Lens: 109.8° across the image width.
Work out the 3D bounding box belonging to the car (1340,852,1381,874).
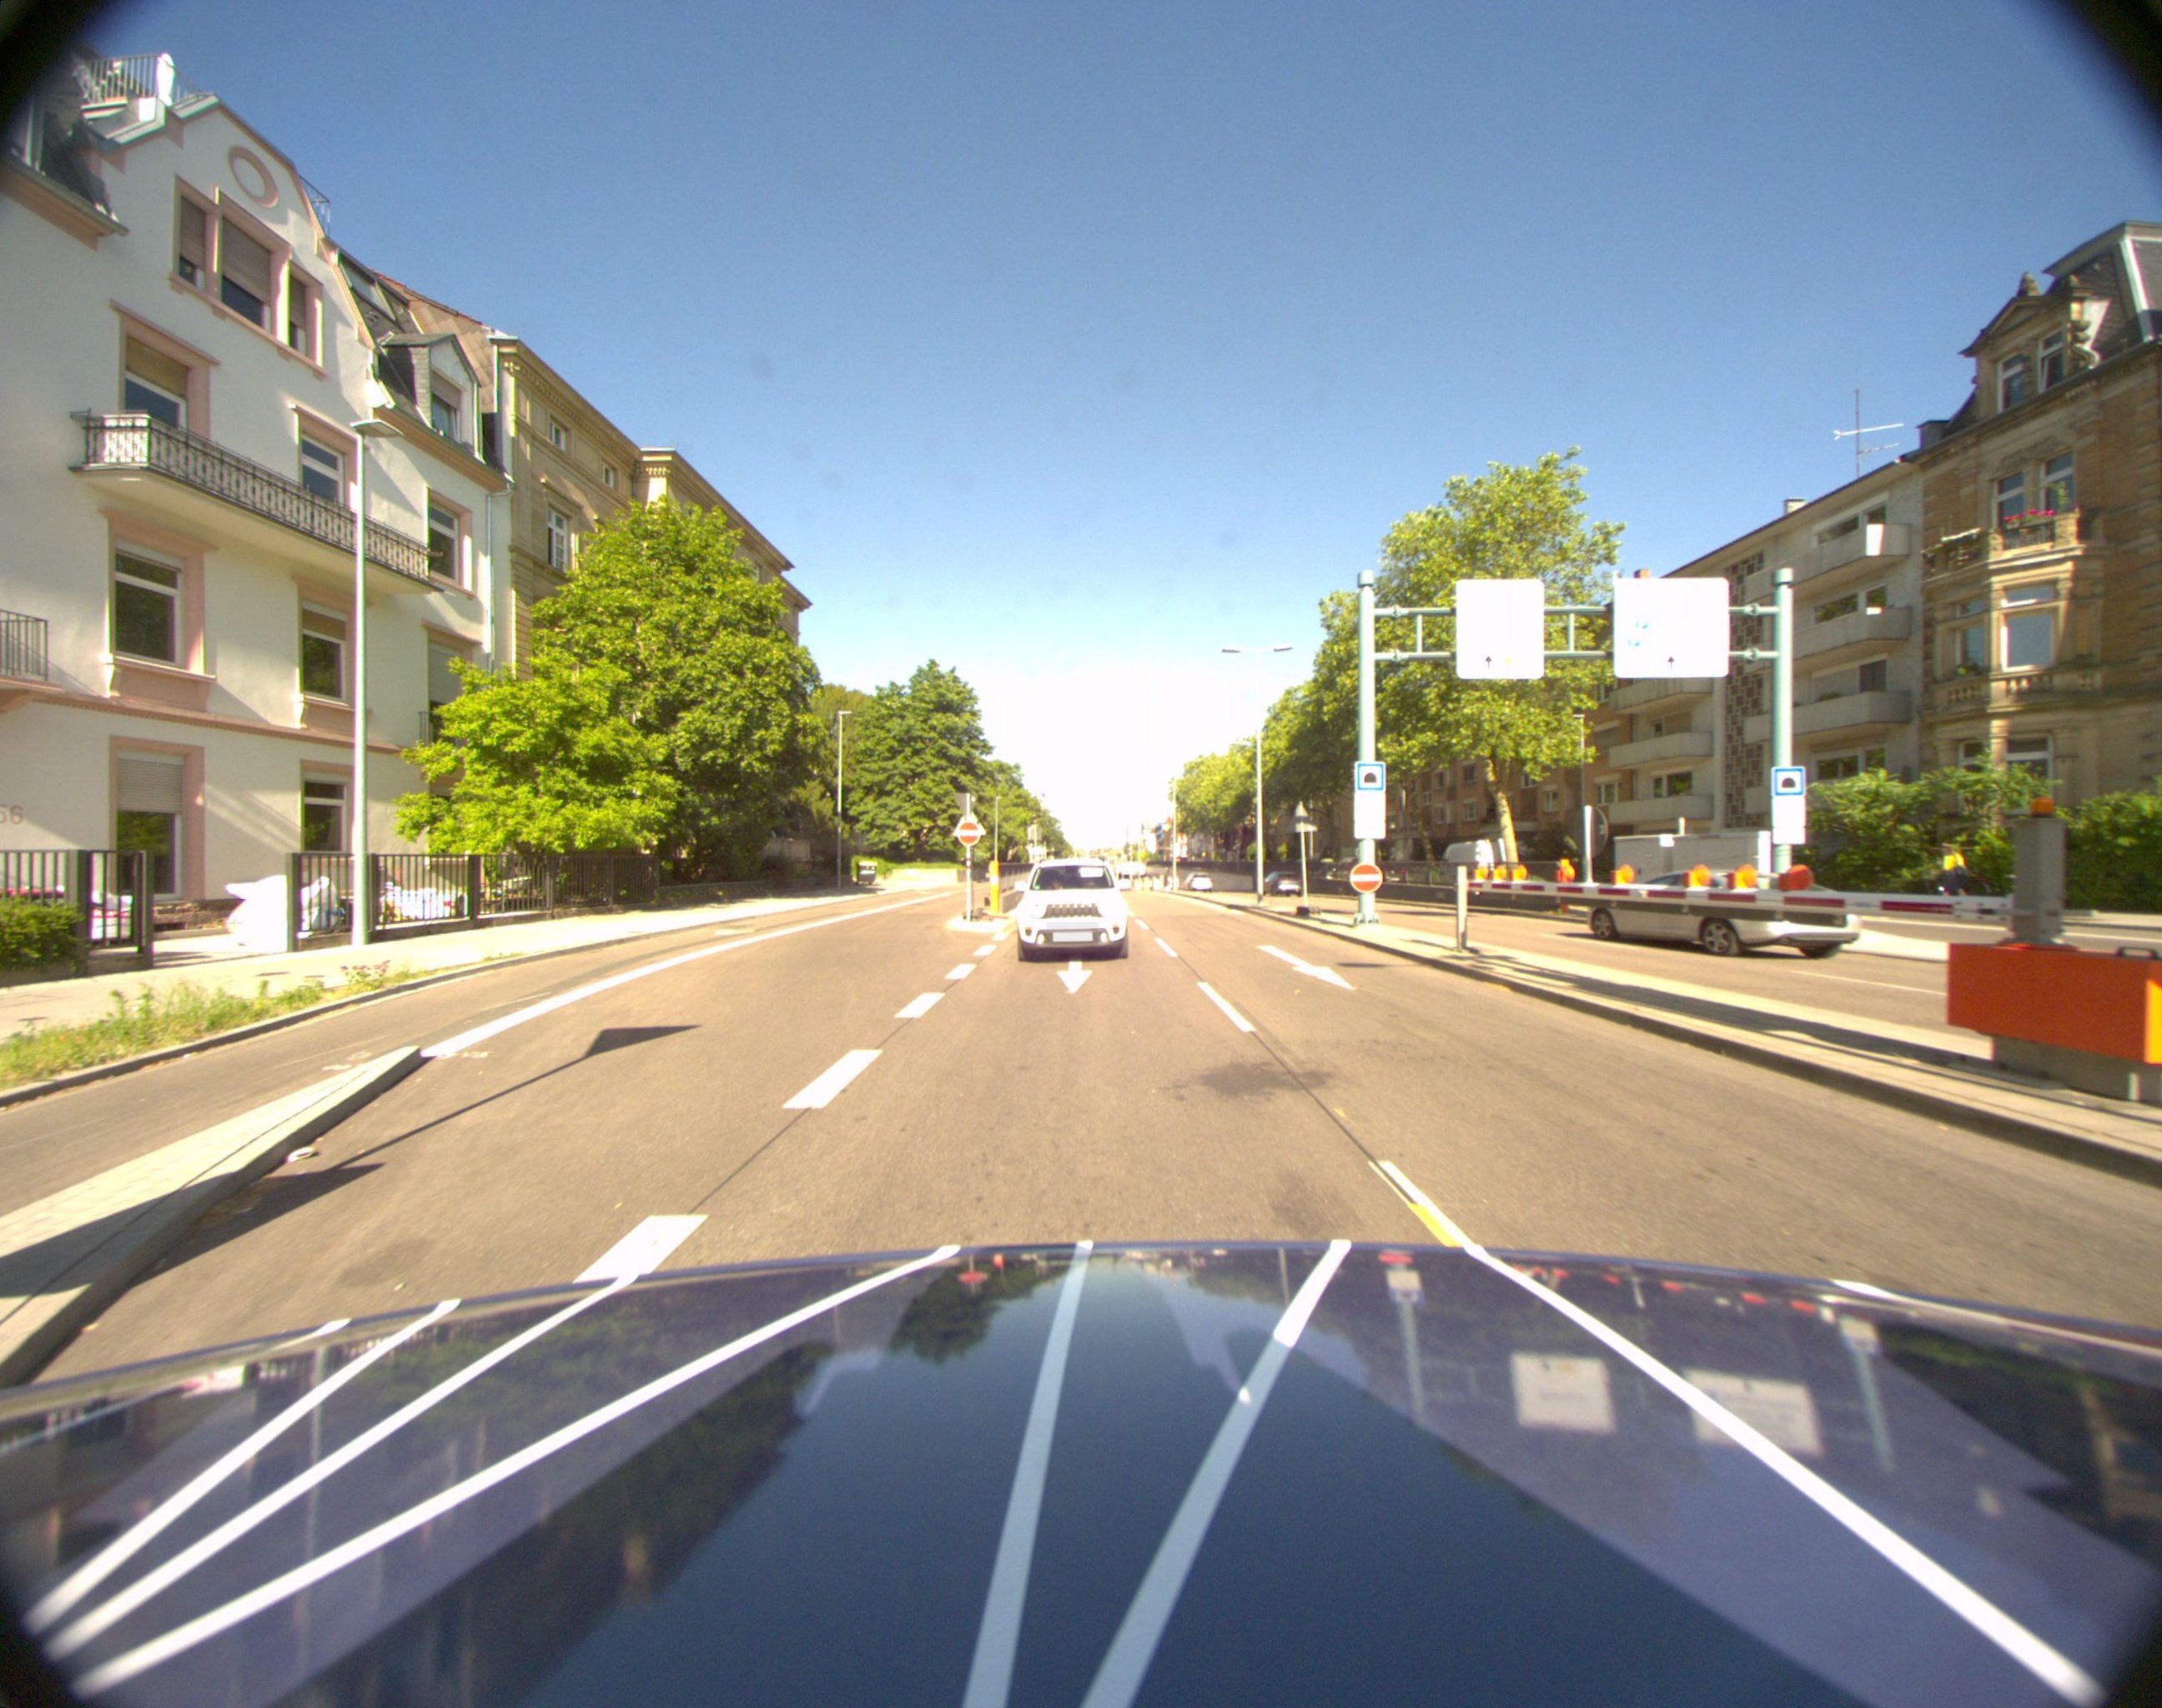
[{"bbox_3d":[23.060,0.799,62.888,1.998,1.742,4.001,0,-1,2],"label":"car"}]

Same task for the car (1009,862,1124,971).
[{"bbox_3d":[-0.215,1.009,13.517,1.744,1.647,3.691,-1,-1,0],"label":"car"}]

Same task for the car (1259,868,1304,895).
[{"bbox_3d":[12.182,1.634,46.329,1.611,1.432,4.311,2,-1,1],"label":"car"}]

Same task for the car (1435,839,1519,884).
[{"bbox_3d":[22.783,0.484,43.989,2.250,2.431,5.289,1,-1,2],"label":"car"}]

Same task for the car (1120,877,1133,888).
[{"bbox_3d":[9.911,6.190,166.565,2.449,2.073,5.638,0,0,-1],"label":"car"}]

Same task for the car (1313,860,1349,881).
[{"bbox_3d":[18.566,1.193,56.504,1.631,1.478,3.690,-1,0,3],"label":"car"}]

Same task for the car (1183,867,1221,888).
[{"bbox_3d":[9.113,1.838,57.717,1.999,1.443,4.619,3,-3,-1],"label":"car"}]

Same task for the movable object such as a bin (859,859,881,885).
[{"bbox_3d":[-11.811,0.991,42.504,0.975,1.389,1.285,2,-1,-22],"label":"movable object such as a bin"}]

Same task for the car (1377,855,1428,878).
[{"bbox_3d":[23.011,0.914,54.498,1.998,1.570,4.001,1,-1,2],"label":"car"}]

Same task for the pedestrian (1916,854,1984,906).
[{"bbox_3d":[23.458,0.684,20.541,0.568,1.369,1.090,-1,0,-1],"label":"pedestrian"}]

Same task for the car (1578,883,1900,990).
[{"bbox_3d":[11.518,1.350,13.841,1.998,1.444,4.391,-3,-1,0],"label":"car"}]

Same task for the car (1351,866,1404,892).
[{"bbox_3d":[17.480,1.445,44.964,1.632,1.429,3.690,-2,0,0],"label":"car"}]

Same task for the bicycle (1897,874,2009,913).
[{"bbox_3d":[23.973,1.057,20.959,0.468,0.999,2.250,-2,-1,0],"label":"bicycle"}]

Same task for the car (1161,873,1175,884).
[{"bbox_3d":[12.754,3.523,110.959,1.663,1.465,3.298,0,0,0],"label":"car"}]
